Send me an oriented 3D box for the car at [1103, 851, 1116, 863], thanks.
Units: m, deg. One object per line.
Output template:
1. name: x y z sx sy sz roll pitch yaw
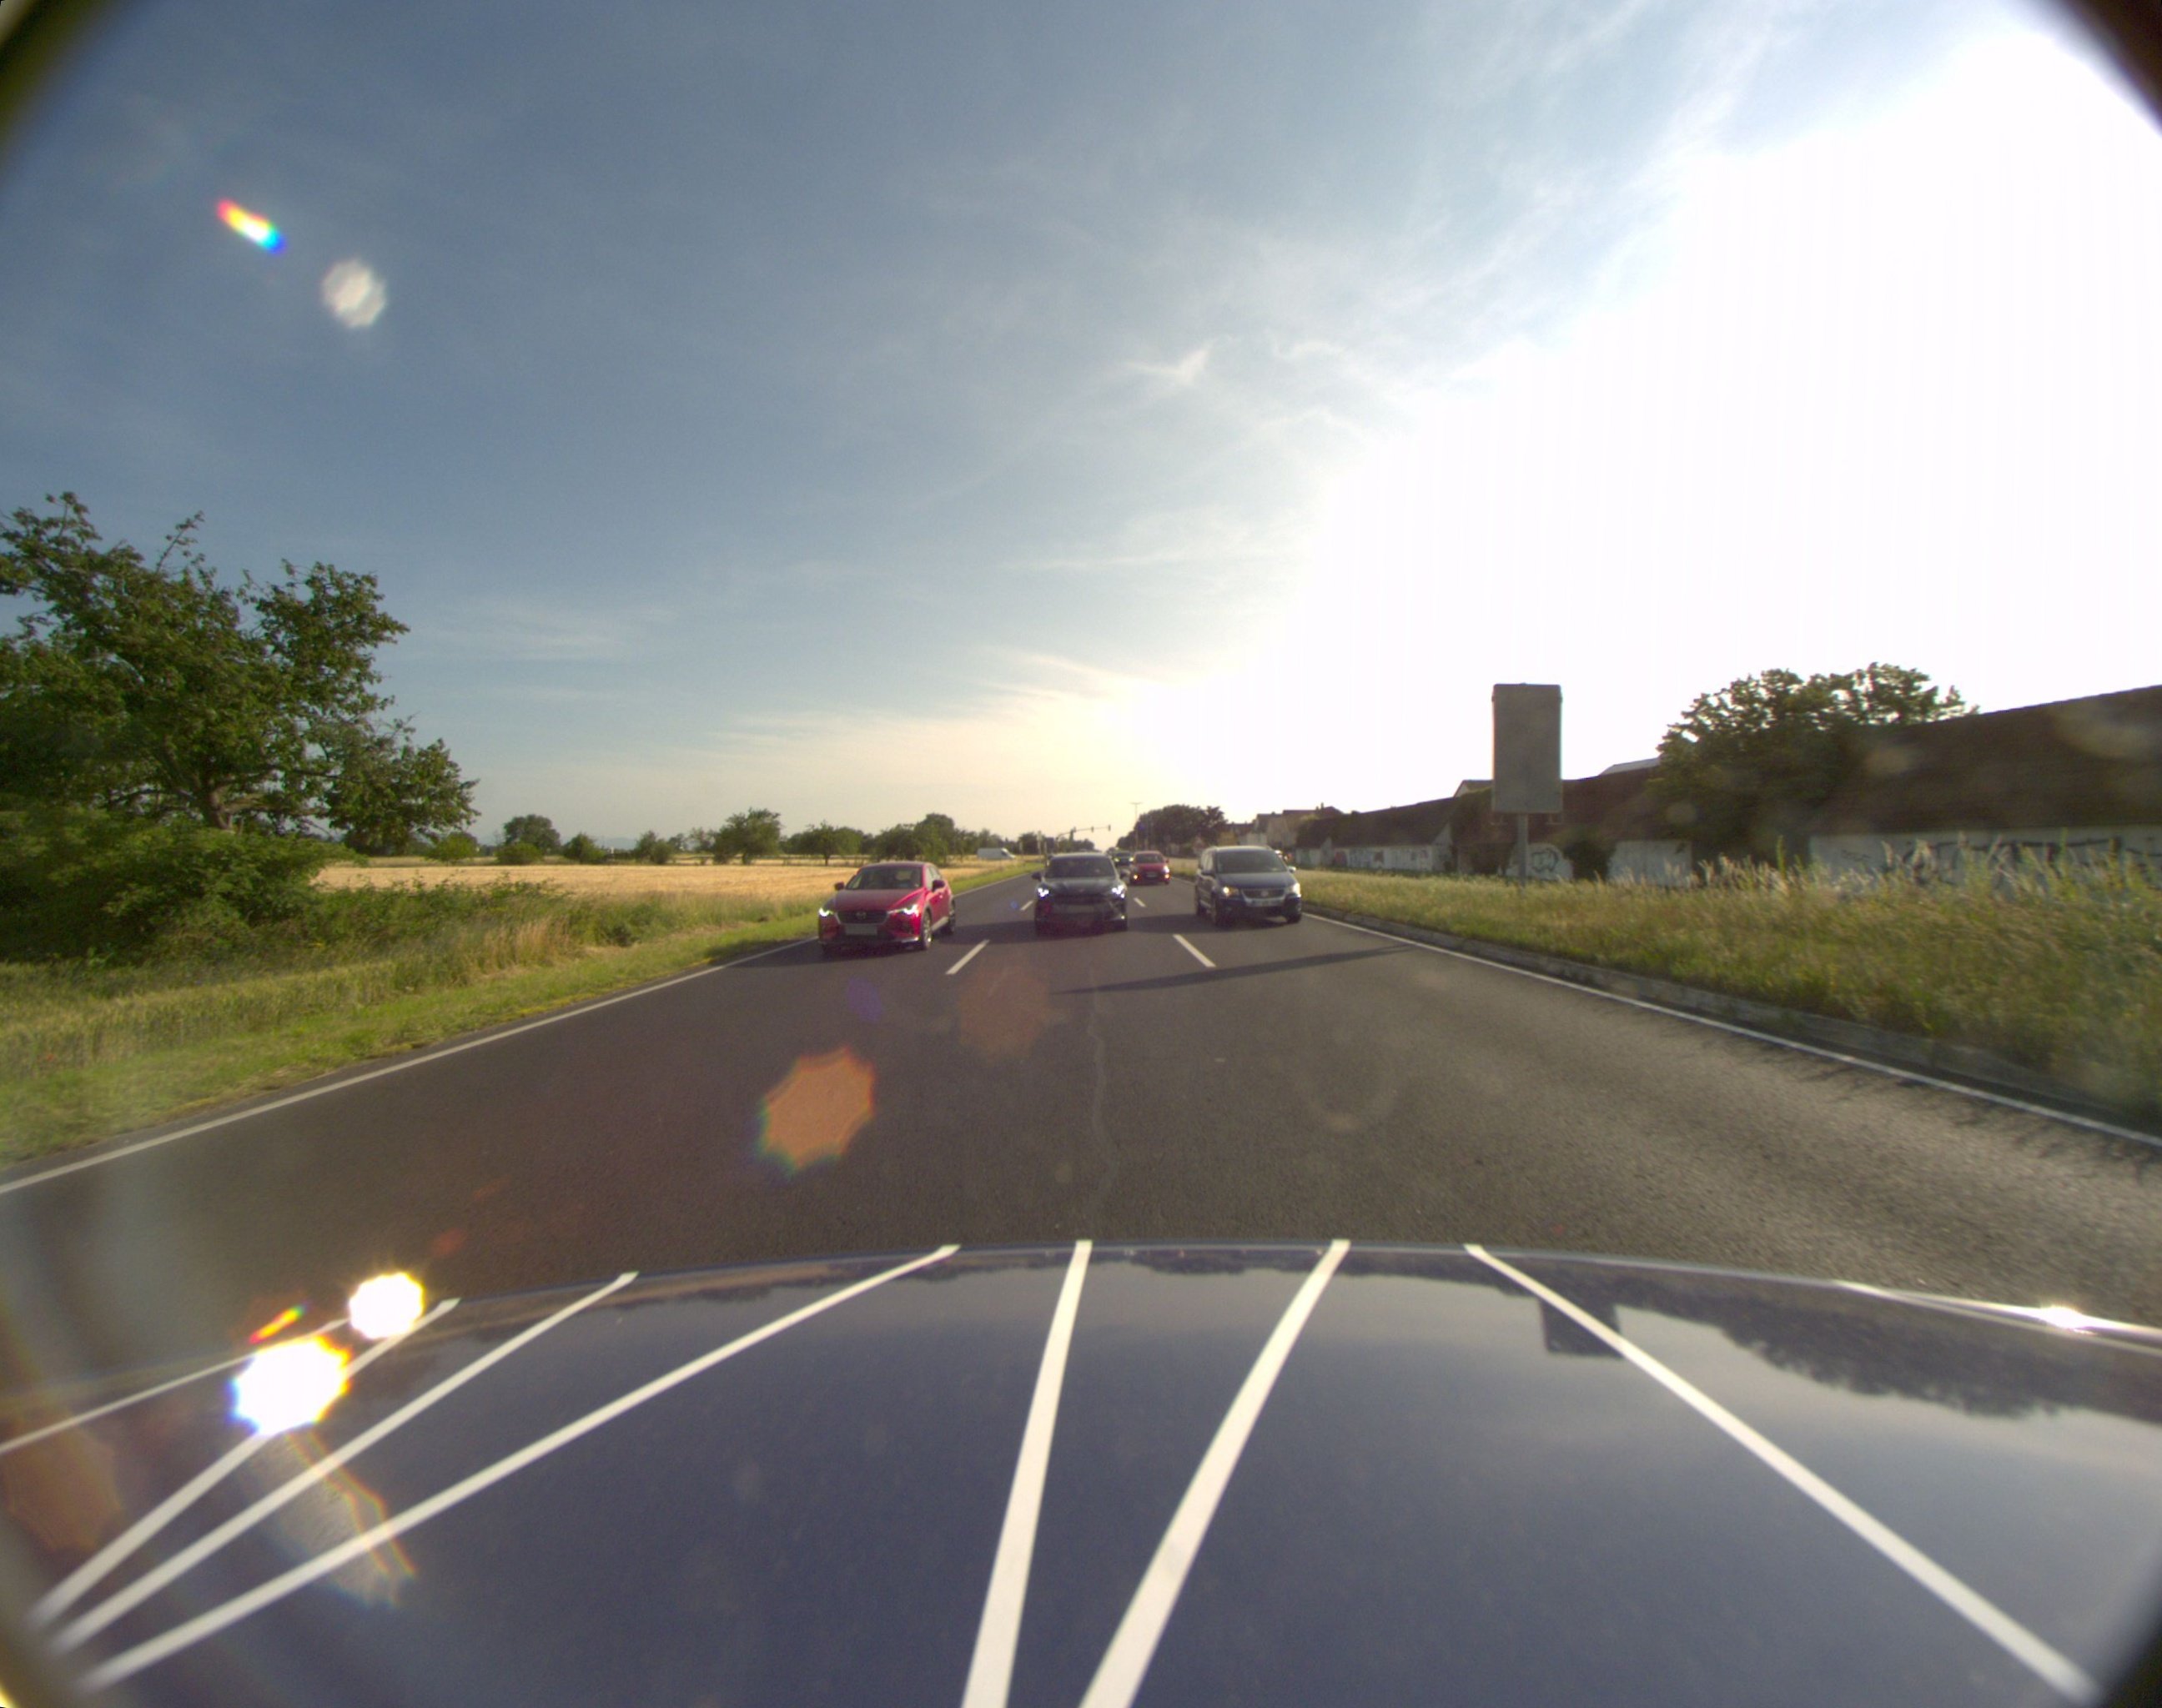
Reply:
1. car: 5.078 0.522 136.152 1.999 2.002 3.998 -2 1 -2

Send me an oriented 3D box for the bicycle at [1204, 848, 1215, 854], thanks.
1. bicycle: 25.072 -0.621 148.514 2.159 1.185 0.904 0 2 10

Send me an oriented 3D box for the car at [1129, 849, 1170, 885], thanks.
1. car: 3.330 0.596 37.431 1.748 1.537 3.999 -2 1 2

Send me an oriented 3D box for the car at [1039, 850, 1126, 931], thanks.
1. car: 0.106 0.769 18.322 1.791 1.594 4.339 -2 1 2

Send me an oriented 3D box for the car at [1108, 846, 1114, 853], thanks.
1. car: 9.878 -1.503 249.676 1.998 2.002 3.999 -2 1 2

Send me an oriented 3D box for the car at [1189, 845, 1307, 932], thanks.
1. car: 3.610 0.658 17.230 1.777 1.612 4.681 -1 1 2

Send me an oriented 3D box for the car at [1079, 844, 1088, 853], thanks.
1. car: 0.624 -1.437 198.934 1.999 2.002 3.998 -2 1 -2

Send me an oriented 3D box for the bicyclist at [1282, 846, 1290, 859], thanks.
1. bicyclist: 31.460 -0.226 116.577 0.772 2.002 1.062 -2 2 1

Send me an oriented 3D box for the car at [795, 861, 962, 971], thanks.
1. car: -3.450 0.973 13.890 1.708 1.497 4.500 -2 1 1

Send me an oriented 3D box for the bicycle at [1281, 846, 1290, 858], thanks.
1. bicycle: 31.442 -0.334 116.731 0.755 1.739 2.607 -2 1 2

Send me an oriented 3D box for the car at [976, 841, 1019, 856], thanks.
1. car: -14.852 -0.958 135.423 7.202 2.654 2.094 0 2 15

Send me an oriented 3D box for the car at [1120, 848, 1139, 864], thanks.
1. car: 5.053 0.209 79.653 1.718 1.521 3.999 -2 1 2

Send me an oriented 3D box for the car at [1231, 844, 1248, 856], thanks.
1. car: 23.691 -0.589 114.006 1.840 1.697 4.758 2 1 4

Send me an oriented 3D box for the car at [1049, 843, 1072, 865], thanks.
1. car: -1.910 -0.035 71.904 1.999 2.002 3.998 -2 1 -1
